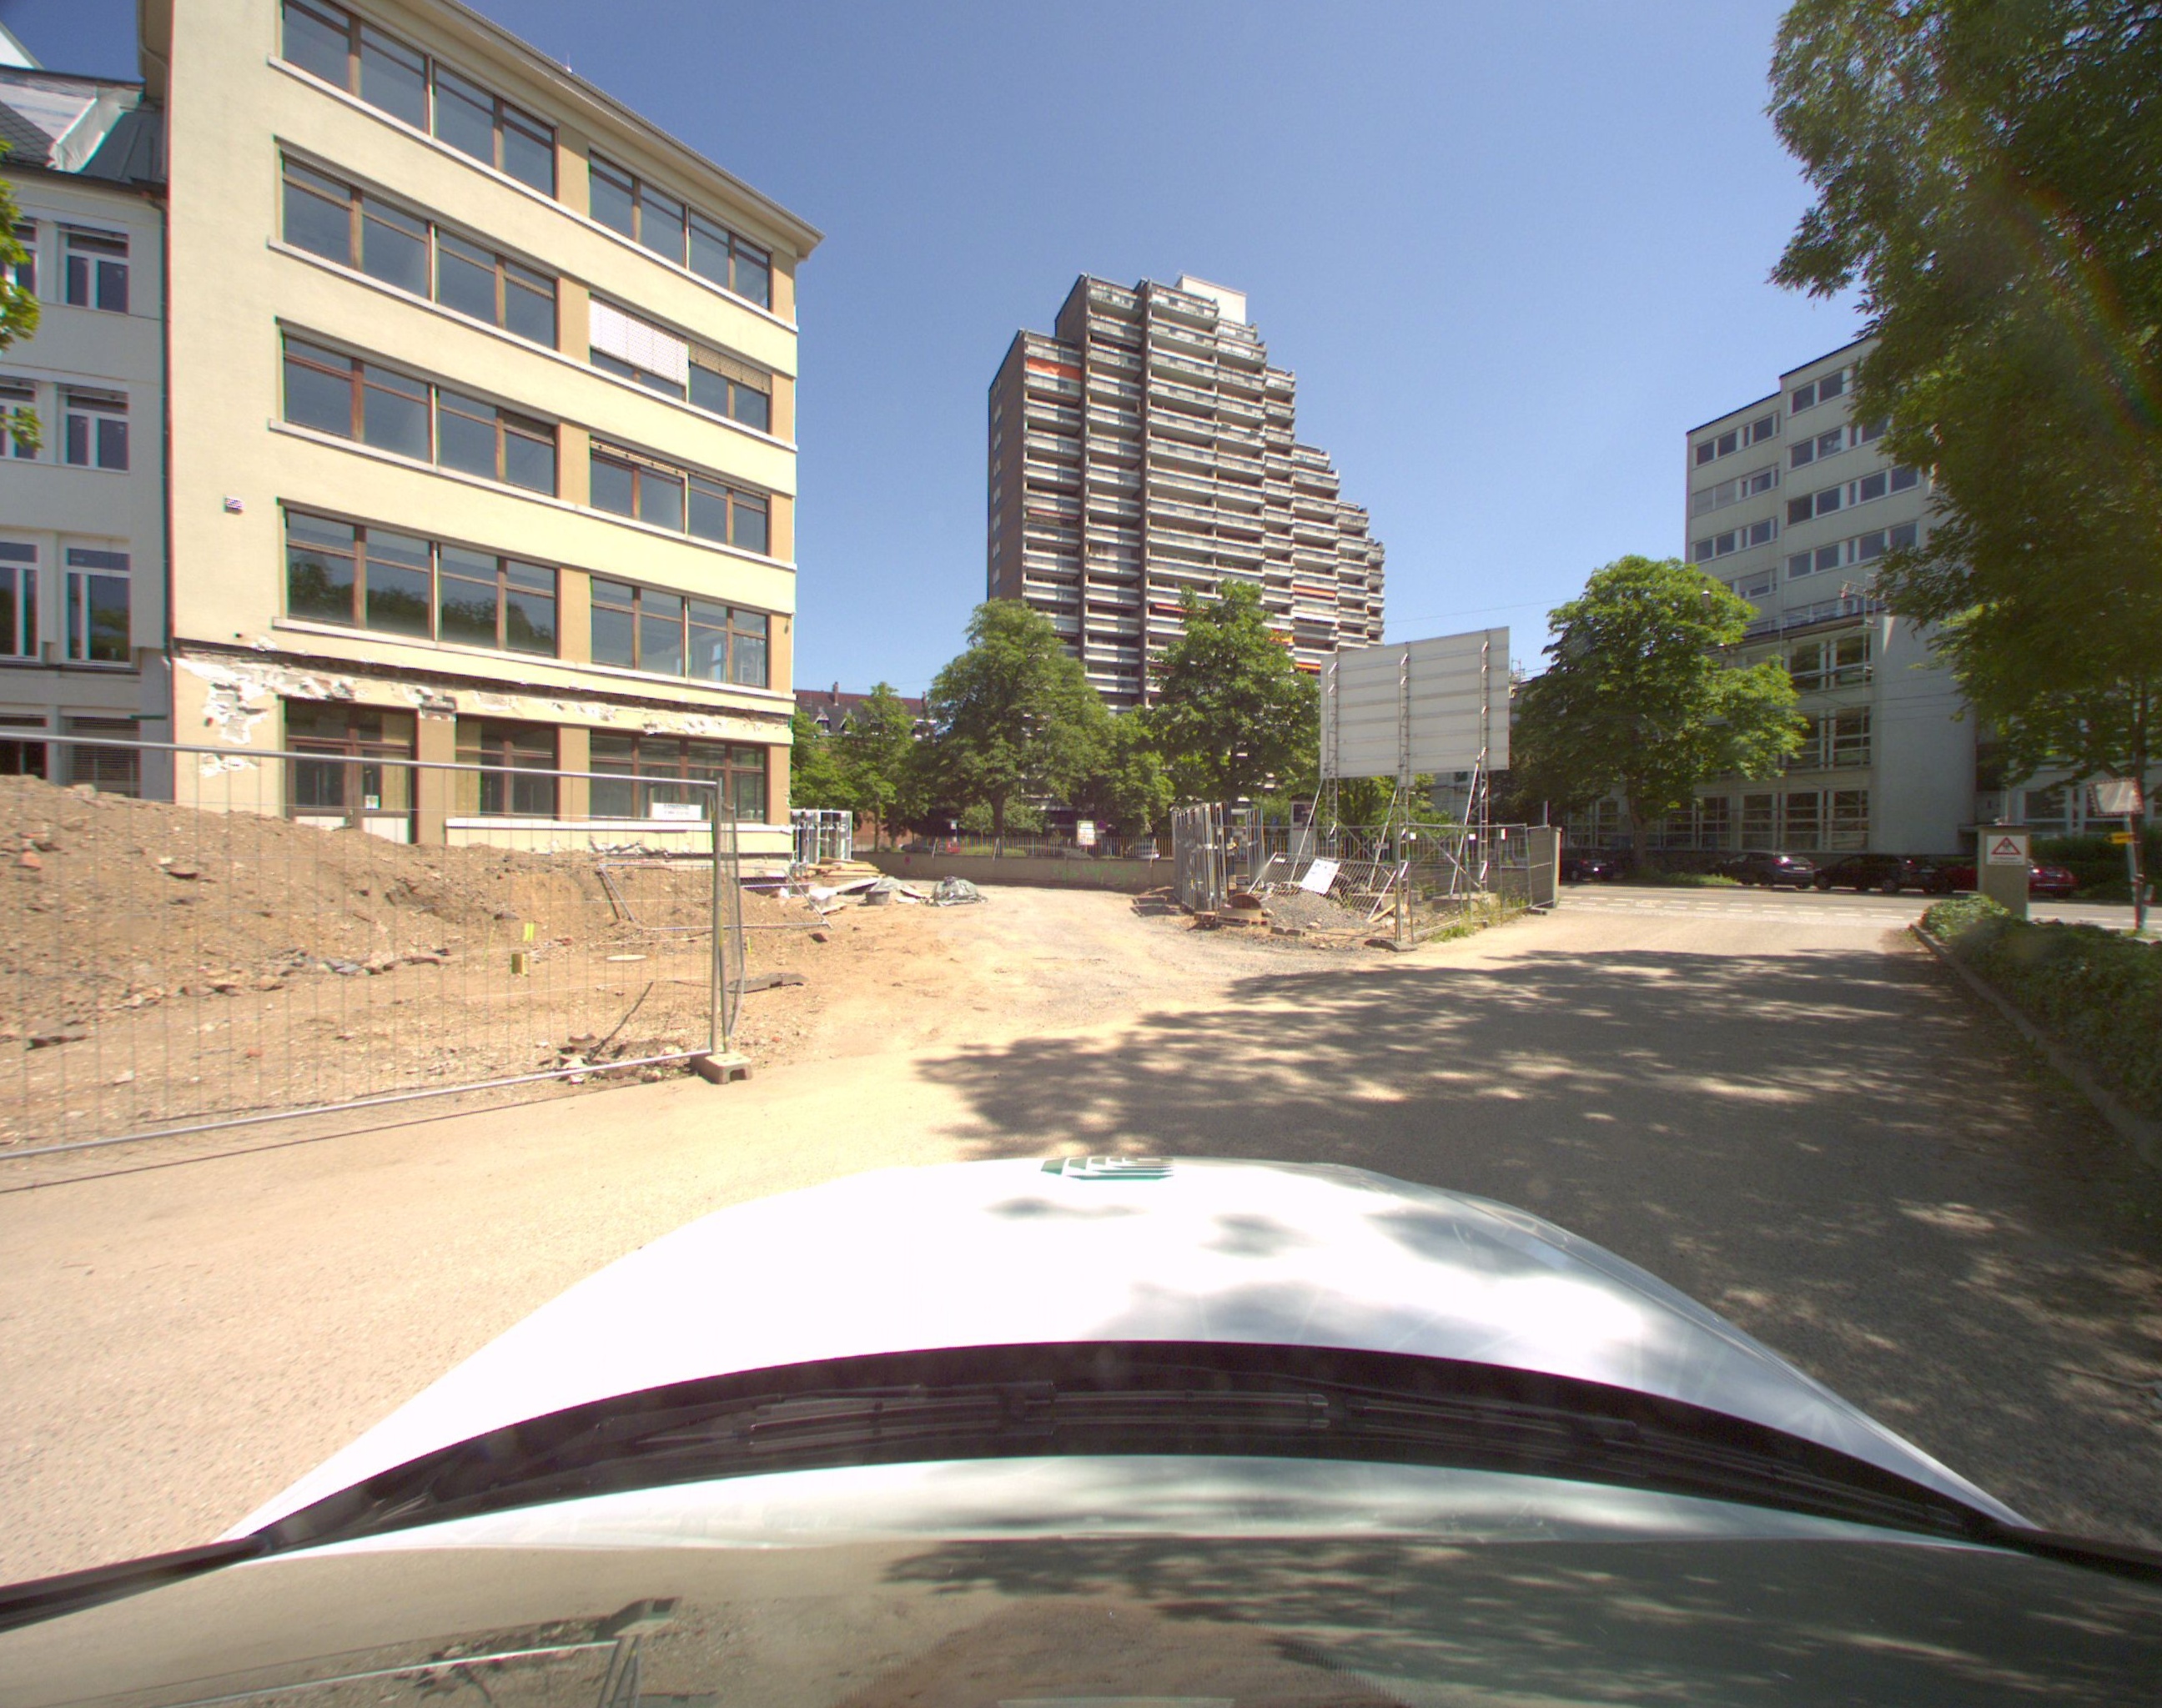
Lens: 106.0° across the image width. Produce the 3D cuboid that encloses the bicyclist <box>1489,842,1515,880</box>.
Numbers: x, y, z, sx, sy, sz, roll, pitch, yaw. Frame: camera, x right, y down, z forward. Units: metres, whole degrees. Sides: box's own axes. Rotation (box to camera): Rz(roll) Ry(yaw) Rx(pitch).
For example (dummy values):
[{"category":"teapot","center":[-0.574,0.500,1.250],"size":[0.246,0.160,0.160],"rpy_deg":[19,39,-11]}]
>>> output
[{"category":"bicyclist","center":[18.654,0.291,36.080],"size":[0.889,1.665,0.864],"rpy_deg":[0,0,38]}]

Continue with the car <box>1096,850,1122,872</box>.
[{"category":"car","center":[1.861,0.451,54.135],"size":[1.628,1.387,3.678],"rpy_deg":[0,0,0]}]

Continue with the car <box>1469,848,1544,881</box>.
[{"category":"car","center":[20.193,0.470,38.831],"size":[1.628,1.463,3.676],"rpy_deg":[0,0,-1]}]

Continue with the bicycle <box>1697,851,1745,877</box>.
[{"category":"bicycle","center":[30.383,0.465,38.647],"size":[2.436,1.188,0.777],"rpy_deg":[0,0,-25]}]

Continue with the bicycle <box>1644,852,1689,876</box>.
[{"category":"bicycle","center":[29.313,0.502,40.782],"size":[2.388,1.157,0.777],"rpy_deg":[0,0,-25]}]

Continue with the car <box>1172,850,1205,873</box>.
[{"category":"car","center":[6.667,0.431,50.862],"size":[1.628,1.387,3.678],"rpy_deg":[0,0,0]}]

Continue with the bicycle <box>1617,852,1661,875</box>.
[{"category":"bicycle","center":[28.700,0.471,41.883],"size":[2.388,1.157,0.777],"rpy_deg":[0,0,-25]}]

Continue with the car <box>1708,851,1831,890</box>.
[{"category":"car","center":[27.447,0.612,32.607],"size":[1.637,1.463,3.670],"rpy_deg":[0,0,-6]}]

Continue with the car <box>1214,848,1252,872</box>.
[{"category":"car","center":[8.989,0.330,48.429],"size":[1.628,1.387,3.678],"rpy_deg":[0,0,0]}]

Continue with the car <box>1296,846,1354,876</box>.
[{"category":"car","center":[12.417,0.336,41.678],"size":[1.631,1.463,3.671],"rpy_deg":[0,0,-5]}]

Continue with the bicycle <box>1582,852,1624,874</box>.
[{"category":"bicycle","center":[27.897,0.459,43.507],"size":[2.388,1.157,0.777],"rpy_deg":[0,0,-25]}]

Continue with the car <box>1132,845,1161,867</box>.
[{"category":"car","center":[4.271,0.135,53.213],"size":[1.628,1.387,3.678],"rpy_deg":[0,0,0]}]

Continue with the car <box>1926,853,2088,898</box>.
[{"category":"car","center":[32.104,0.700,28.400],"size":[1.601,1.436,3.603],"rpy_deg":[0,0,0]}]

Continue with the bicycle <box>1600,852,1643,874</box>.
[{"category":"bicycle","center":[28.333,0.465,42.670],"size":[2.388,1.157,0.777],"rpy_deg":[0,0,-25]}]

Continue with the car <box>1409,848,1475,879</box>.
[{"category":"car","center":[17.846,0.437,40.435],"size":[1.628,1.463,3.676],"rpy_deg":[0,0,-1]}]

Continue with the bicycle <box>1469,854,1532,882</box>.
[{"category":"bicycle","center":[18.596,0.603,36.124],"size":[2.409,1.152,0.791],"rpy_deg":[0,1,38]}]

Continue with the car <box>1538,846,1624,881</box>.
[{"category":"car","center":[22.443,0.401,36.725],"size":[1.628,1.463,3.676],"rpy_deg":[0,0,-1]}]

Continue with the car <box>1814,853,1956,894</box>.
[{"category":"car","center":[29.728,0.676,30.262],"size":[1.603,1.445,3.674],"rpy_deg":[0,0,-3]}]

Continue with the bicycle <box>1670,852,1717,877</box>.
[{"category":"bicycle","center":[29.864,0.479,39.688],"size":[2.436,1.188,0.777],"rpy_deg":[0,0,-25]}]

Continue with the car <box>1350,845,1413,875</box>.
[{"category":"car","center":[15.343,0.277,41.729],"size":[1.631,1.463,3.671],"rpy_deg":[0,0,-5]}]
